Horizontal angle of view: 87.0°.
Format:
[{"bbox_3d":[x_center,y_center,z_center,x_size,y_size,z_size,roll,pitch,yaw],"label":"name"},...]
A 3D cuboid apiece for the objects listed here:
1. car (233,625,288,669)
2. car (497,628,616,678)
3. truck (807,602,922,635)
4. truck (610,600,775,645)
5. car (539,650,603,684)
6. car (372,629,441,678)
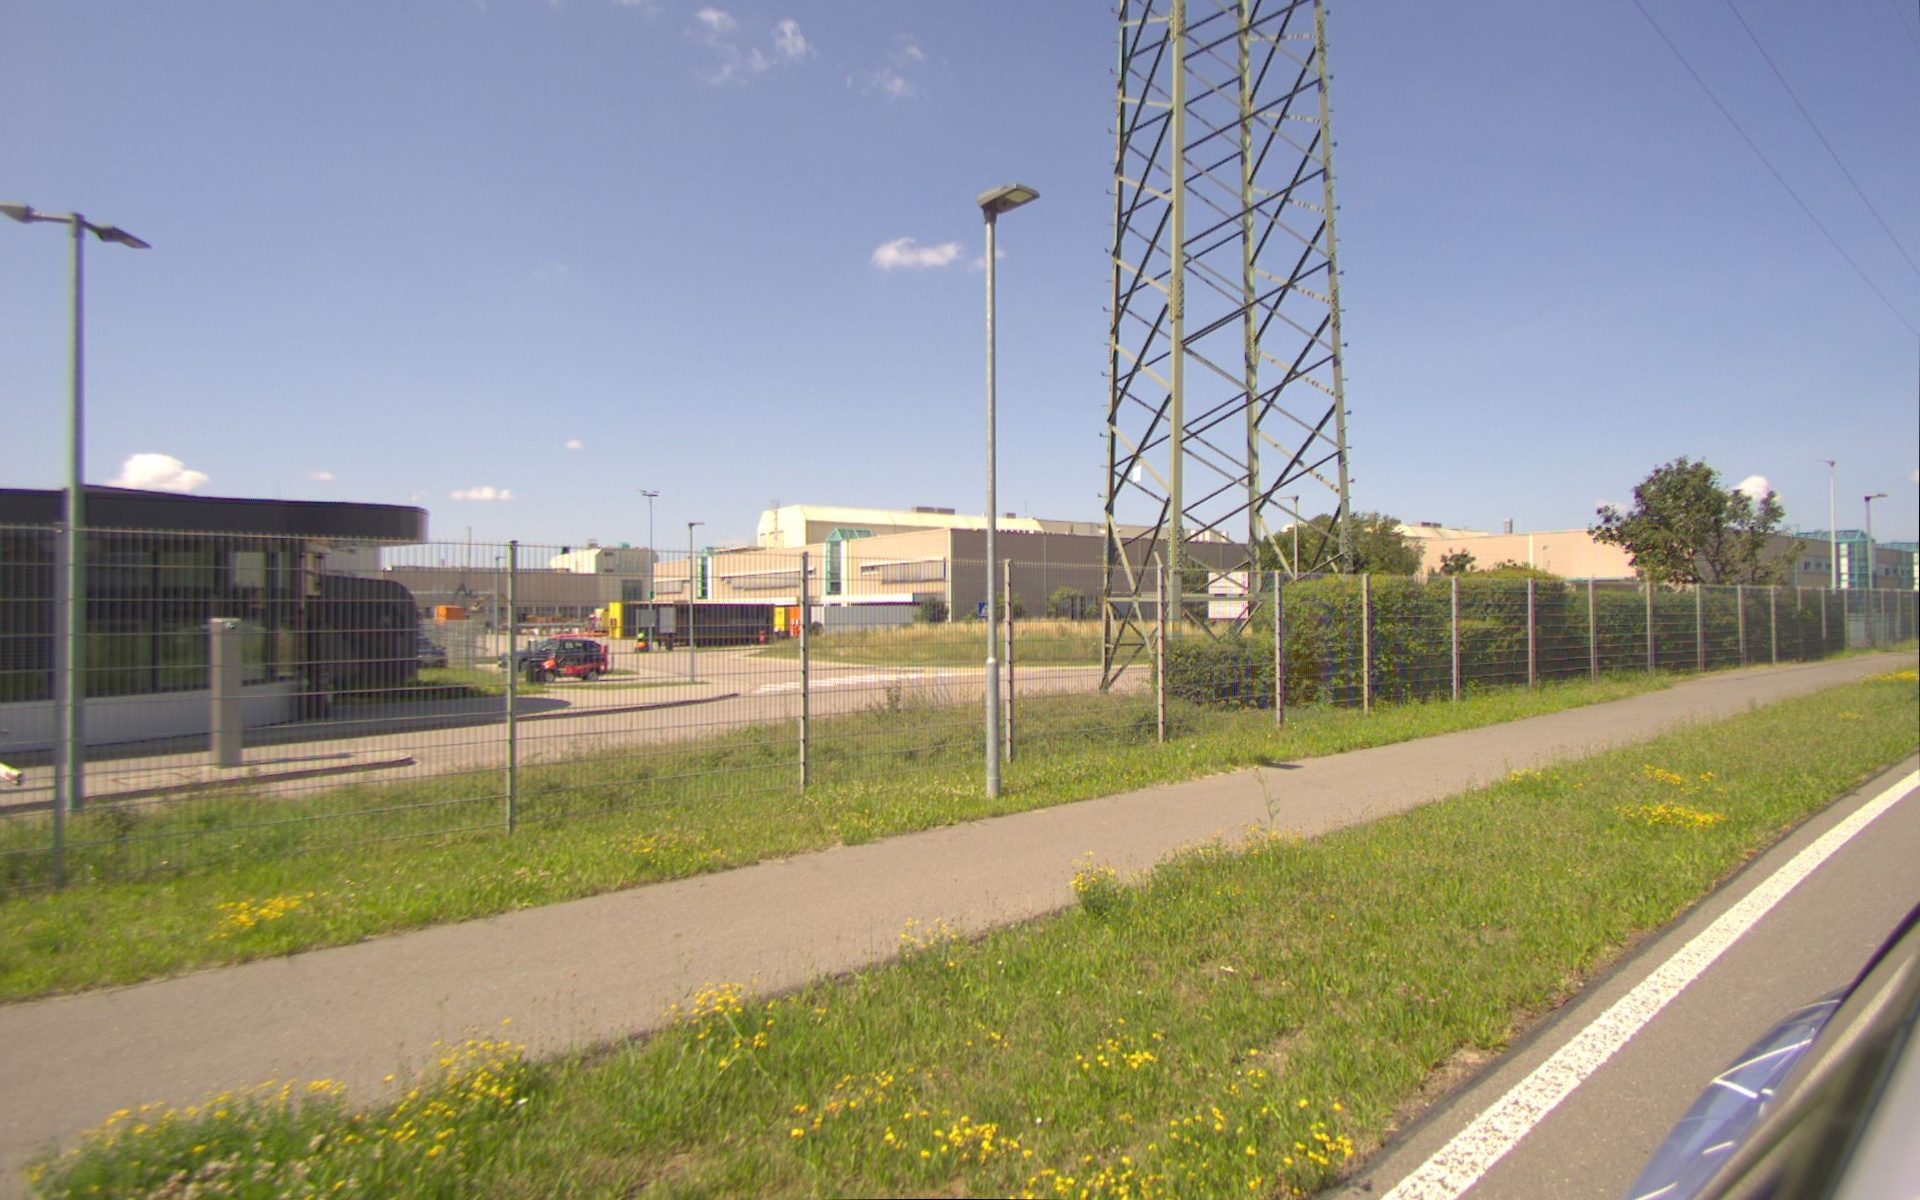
[{"bbox_3d":[-35.085,2.313,50.709,1.964,2.040,4.747,0,-2,-39],"label":"car"},{"bbox_3d":[-18.349,2.368,46.147,4.666,2.040,1.998,0,-2,-38],"label":"car"},{"bbox_3d":[-8.997,1.708,96.721,11.634,3.000,1.998,0,-2,-38],"label":"truck"},{"bbox_3d":[-21.734,1.742,83.102,13.380,3.405,1.998,0,-2,-38],"label":"truck"},{"bbox_3d":[-15.191,2.598,39.521,2.153,1.168,1.200,-1,1,-34],"label":"car"},{"bbox_3d":[-25.030,2.383,45.678,1.964,2.040,4.747,0,-2,-39],"label":"car"}]
